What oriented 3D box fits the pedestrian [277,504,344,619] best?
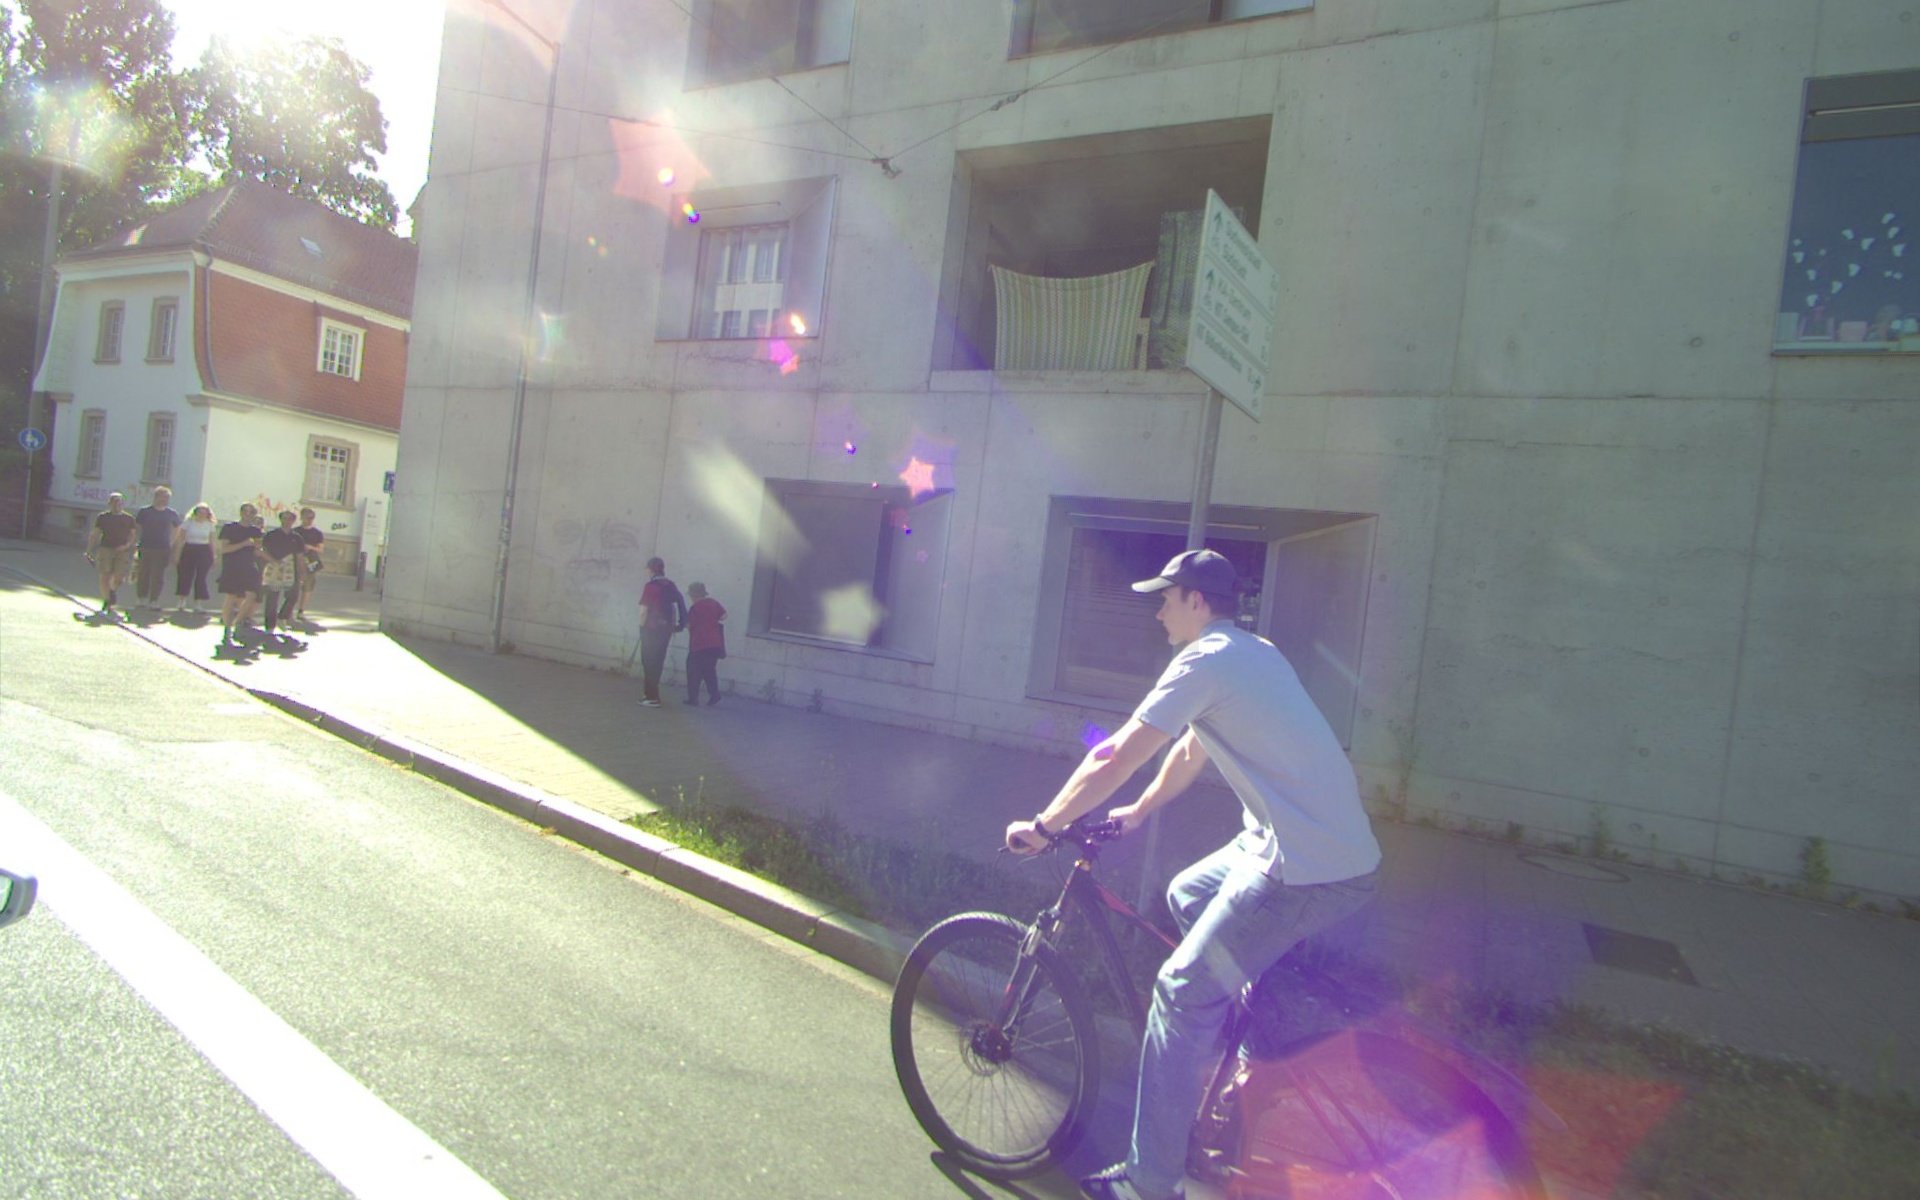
[{"bbox_3d":[-10.708,-0.630,16.592,0.720,1.827,0.656,8,5,36],"label":"pedestrian"}]

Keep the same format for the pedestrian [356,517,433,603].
[{"bbox_3d":[-11.779,-0.809,20.986,0.843,1.661,0.994,5,0,15],"label":"pedestrian"}]

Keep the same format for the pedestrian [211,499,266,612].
[{"bbox_3d":[-11.836,-0.727,16.496,0.644,1.800,0.607,9,6,44],"label":"pedestrian"}]

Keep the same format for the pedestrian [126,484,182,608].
[{"bbox_3d":[-12.955,-0.858,16.171,0.602,1.929,0.518,8,5,36],"label":"pedestrian"}]

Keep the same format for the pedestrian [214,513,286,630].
[{"bbox_3d":[-10.460,-0.429,14.846,0.822,1.628,0.885,1,5,-34],"label":"pedestrian"}]

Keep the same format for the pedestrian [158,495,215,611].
[{"bbox_3d":[-12.463,-0.762,16.216,0.522,1.800,0.731,2,5,-21],"label":"pedestrian"}]

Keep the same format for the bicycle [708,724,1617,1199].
[{"bbox_3d":[0.419,1.056,2.683,2.075,1.107,0.740,7,-1,30],"label":"bicycle"}]

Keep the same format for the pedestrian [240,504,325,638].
[{"bbox_3d":[-9.656,-0.420,14.332,0.940,1.788,0.647,7,5,31],"label":"pedestrian"}]

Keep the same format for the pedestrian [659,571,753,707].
[{"bbox_3d":[-2.878,0.437,11.393,0.752,1.422,0.518,7,1,31],"label":"pedestrian"}]

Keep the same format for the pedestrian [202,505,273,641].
[{"bbox_3d":[-9.811,-0.377,13.662,0.802,1.753,0.494,7,5,31],"label":"pedestrian"}]

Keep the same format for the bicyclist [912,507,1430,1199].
[{"bbox_3d":[0.573,0.693,2.623,0.955,1.706,0.740,7,0,29],"label":"bicyclist"}]

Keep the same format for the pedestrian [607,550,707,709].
[{"bbox_3d":[-3.308,0.315,10.984,0.752,1.621,0.518,7,1,31],"label":"pedestrian"}]

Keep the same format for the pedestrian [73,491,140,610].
[{"bbox_3d":[-13.197,-0.758,15.556,0.706,1.771,0.605,8,5,36],"label":"pedestrian"}]
